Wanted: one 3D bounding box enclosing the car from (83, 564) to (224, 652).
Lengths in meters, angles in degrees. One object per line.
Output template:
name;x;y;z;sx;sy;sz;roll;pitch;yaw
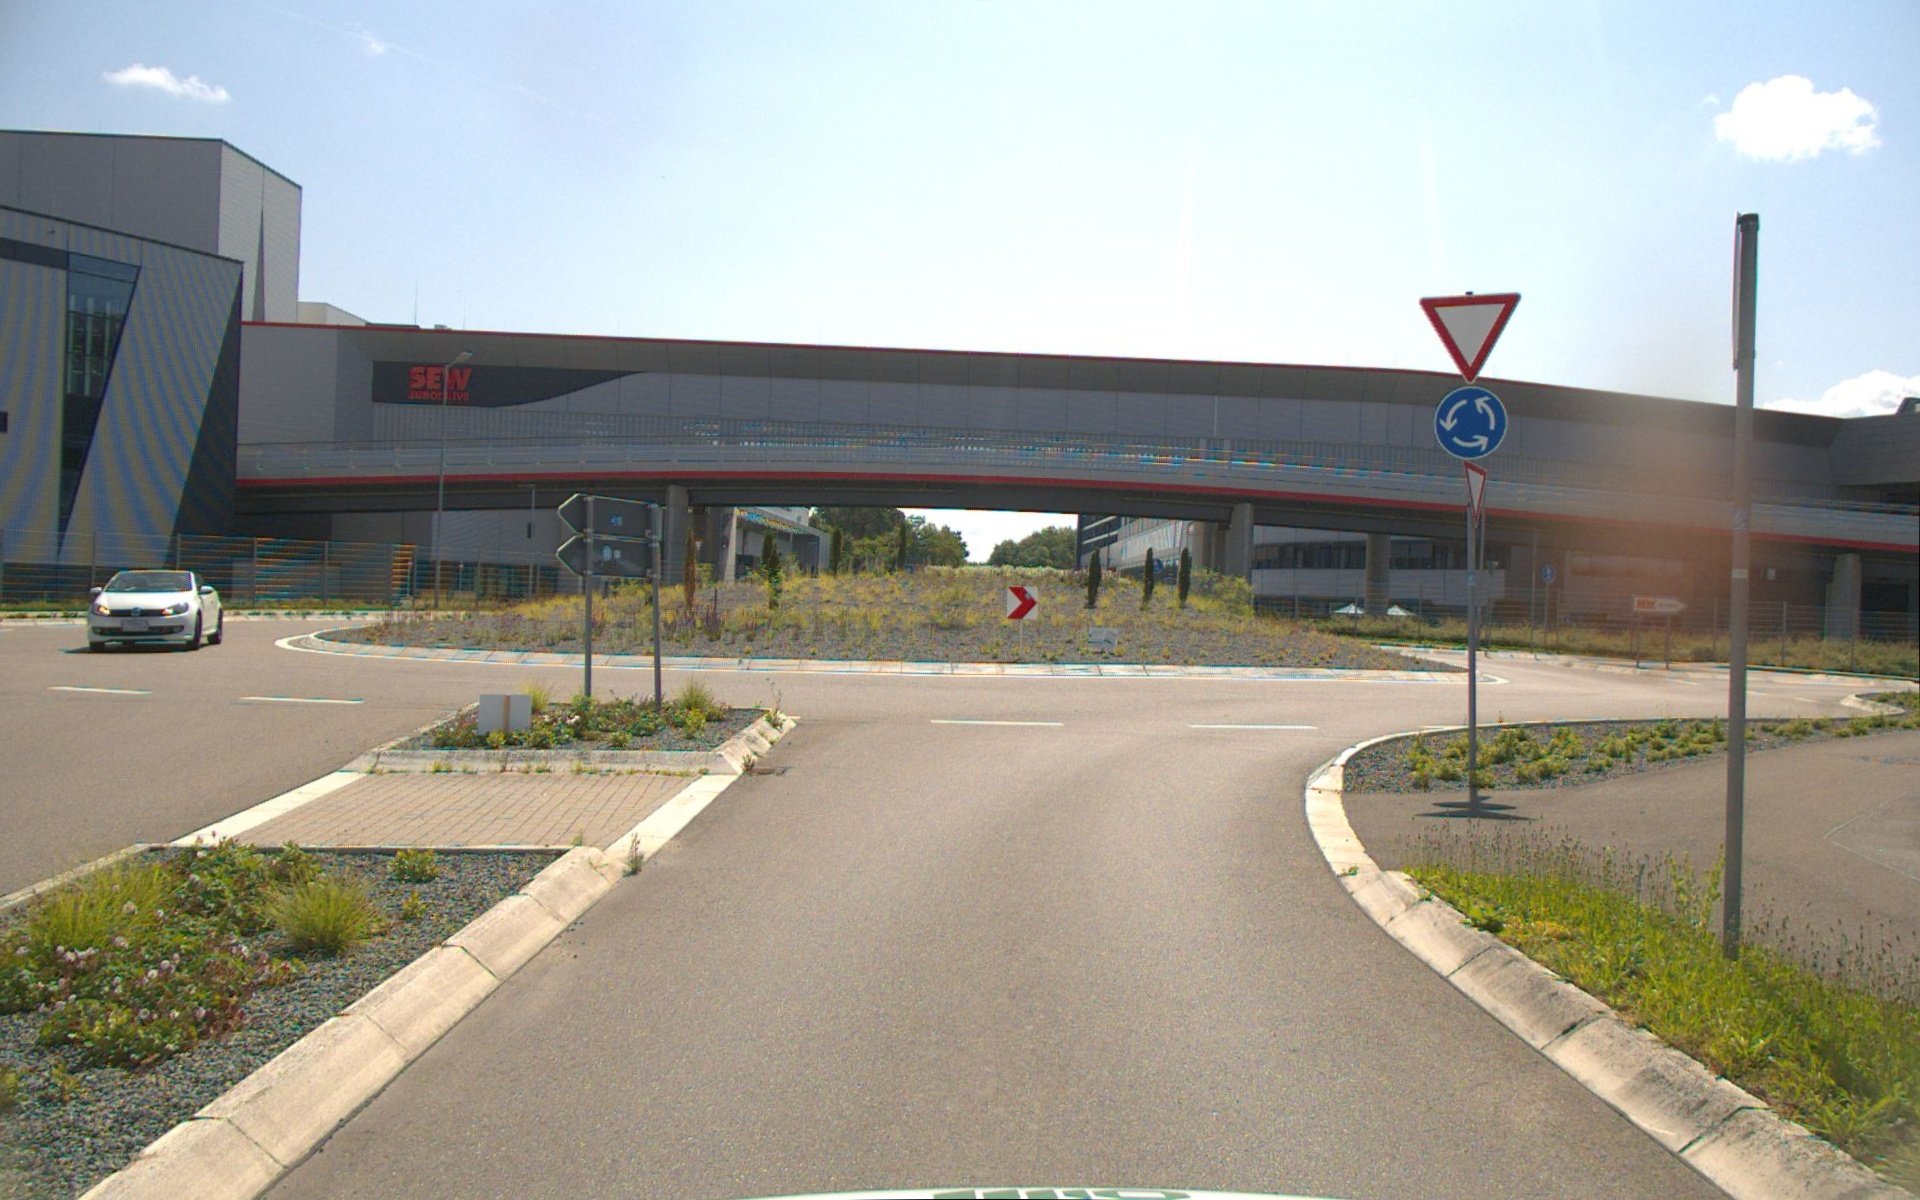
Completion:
car;-14.493;0.144;29.916;1.743;1.453;4.030;1;0;-19
